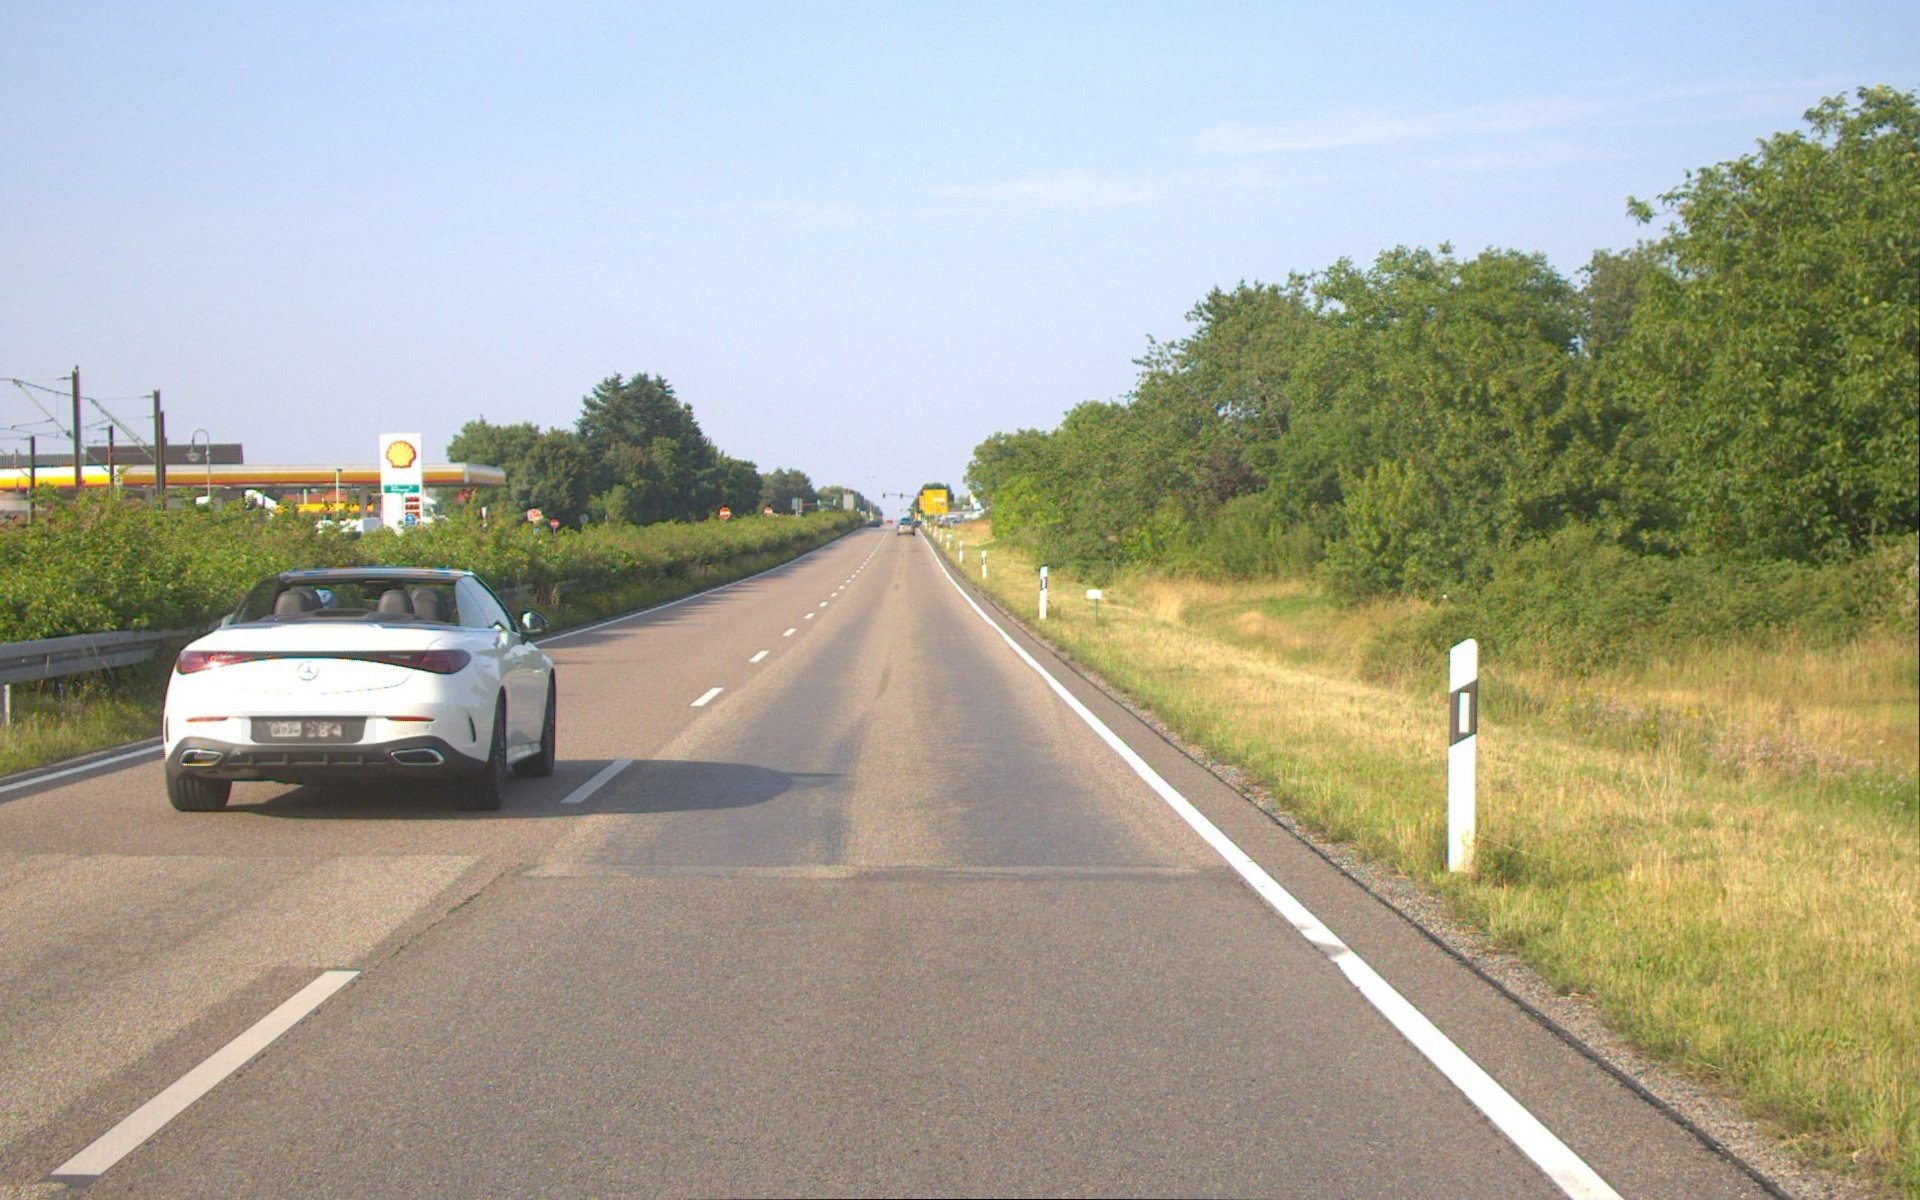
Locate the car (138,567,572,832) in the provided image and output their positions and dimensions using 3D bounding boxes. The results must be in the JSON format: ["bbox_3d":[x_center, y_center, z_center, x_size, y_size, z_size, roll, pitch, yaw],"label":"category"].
[{"bbox_3d":[-3.488,0.503,20.708,1.771,1.333,4.950,1,1,-1],"label":"car"}]
